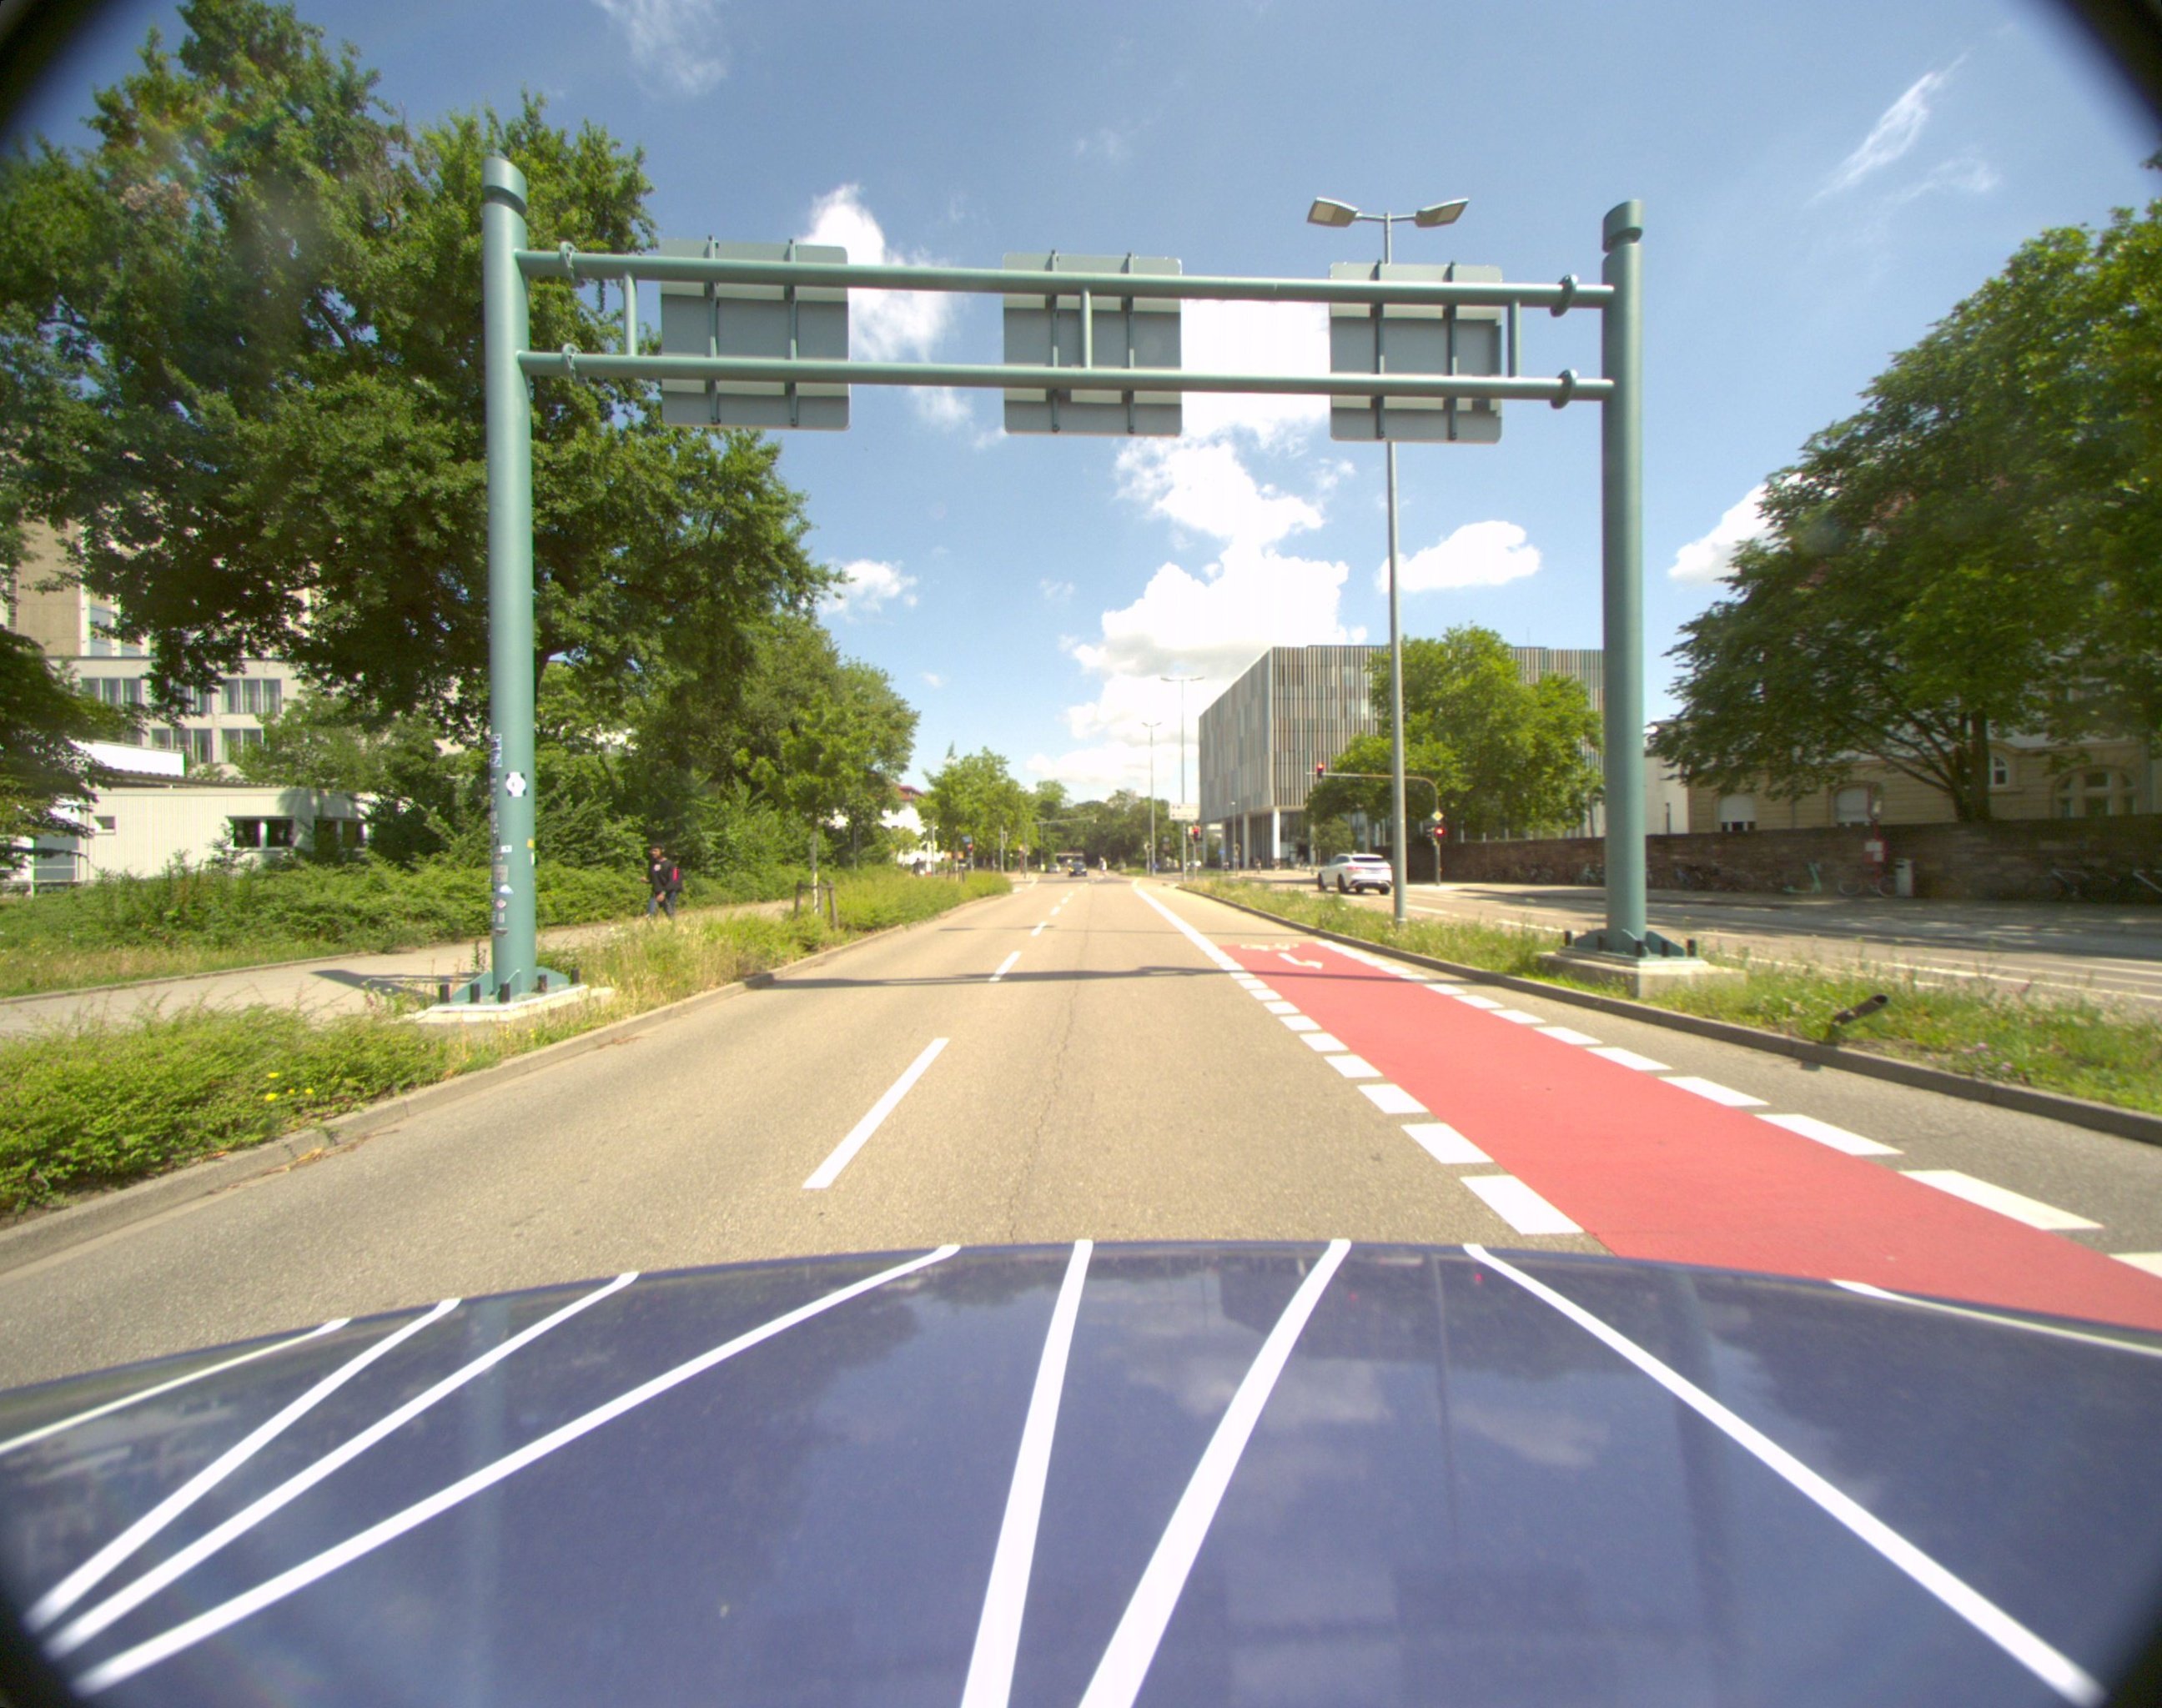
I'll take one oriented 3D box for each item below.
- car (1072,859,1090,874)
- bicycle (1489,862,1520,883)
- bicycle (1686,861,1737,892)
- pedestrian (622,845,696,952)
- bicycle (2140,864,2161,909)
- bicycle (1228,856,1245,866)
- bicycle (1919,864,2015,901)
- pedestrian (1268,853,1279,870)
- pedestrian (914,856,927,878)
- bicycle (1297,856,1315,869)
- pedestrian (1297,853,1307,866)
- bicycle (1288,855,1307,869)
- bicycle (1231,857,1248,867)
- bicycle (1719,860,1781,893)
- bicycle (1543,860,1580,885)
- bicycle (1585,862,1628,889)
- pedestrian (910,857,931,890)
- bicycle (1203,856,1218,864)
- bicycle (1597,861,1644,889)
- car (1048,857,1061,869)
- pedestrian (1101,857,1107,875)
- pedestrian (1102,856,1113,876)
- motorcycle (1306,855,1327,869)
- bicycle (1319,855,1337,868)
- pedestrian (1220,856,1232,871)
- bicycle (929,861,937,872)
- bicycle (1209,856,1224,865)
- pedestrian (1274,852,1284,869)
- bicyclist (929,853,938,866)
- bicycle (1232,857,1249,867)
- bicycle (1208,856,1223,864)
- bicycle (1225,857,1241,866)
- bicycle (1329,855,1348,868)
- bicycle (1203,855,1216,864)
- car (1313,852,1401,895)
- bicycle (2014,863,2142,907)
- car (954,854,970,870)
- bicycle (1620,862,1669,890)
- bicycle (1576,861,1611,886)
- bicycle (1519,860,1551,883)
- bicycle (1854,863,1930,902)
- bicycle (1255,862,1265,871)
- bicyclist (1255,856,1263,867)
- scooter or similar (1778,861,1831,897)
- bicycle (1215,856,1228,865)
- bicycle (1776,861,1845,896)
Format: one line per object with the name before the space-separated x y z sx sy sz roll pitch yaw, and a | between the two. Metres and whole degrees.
car | -0.065 1.416 84.534 1.846 1.593 3.999 -1 0 -2
bicycle | 22.539 0.976 40.453 0.573 1.092 1.593 -1 0 -8
bicycle | 23.944 0.849 28.872 0.403 1.145 1.593 -1 0 -11
pedestrian | -7.032 0.722 12.691 0.718 1.711 0.837 -1 1 2
bicycle | 25.895 0.763 17.380 0.545 1.041 1.894 -1 0 -11
bicycle | 24.437 1.144 119.348 2.511 1.486 0.621 -1 0 1
bicycle | 25.196 0.787 21.657 0.482 1.002 1.800 -1 0 -8
pedestrian | 21.686 0.832 85.678 0.969 1.914 0.880 -1 1 30
pedestrian | -13.714 1.140 64.985 0.878 1.861 0.971 -1 0 -5
bicycle | 27.360 1.047 92.416 2.693 1.485 0.930 -1 0 -44
pedestrian | 30.062 0.721 103.280 1.012 1.697 1.212 -1 0 25
bicycle | 26.594 0.967 93.150 0.808 1.634 3.422 -1 0 42
bicycle | 23.987 1.188 114.764 2.451 1.486 0.621 -1 0 1
bicycle | 23.960 0.800 27.237 0.534 1.145 1.591 -1 0 -21
bicycle | 23.022 0.865 36.407 0.623 1.145 1.593 -1 0 -8
bicycle | 23.098 0.916 33.433 0.403 1.145 1.591 -1 0 -22
pedestrian | -8.375 1.013 39.630 0.815 1.711 0.929 -1 0 2
bicycle | 23.006 1.028 135.256 2.511 1.486 0.621 -1 0 1
bicycle | 22.923 0.881 32.293 0.403 1.145 1.590 -1 0 -32
car | -4.083 1.379 115.982 1.913 1.772 3.999 -1 0 -3
pedestrian | 2.251 1.180 74.555 0.646 1.815 0.689 -1 0 1
pedestrian | 2.568 1.138 73.575 1.108 1.914 0.972 -1 0 2
motorcycle | 28.323 0.937 91.462 0.969 1.630 3.305 -1 0 45
bicycle | 29.440 0.903 90.495 1.049 1.543 3.422 -1 0 37
pedestrian | 16.396 1.055 85.904 0.972 1.619 0.878 -1 0 -11
bicycle | -16.947 1.417 87.202 0.885 1.244 2.163 -1 0 -11
bicycle | 23.219 1.065 130.448 2.511 1.486 0.621 -1 0 1
pedestrian | 23.008 0.780 88.388 0.969 1.914 0.880 -1 1 27
bicyclist | -16.955 0.608 87.109 0.972 1.436 1.076 -1 0 -11
bicycle | 24.275 1.175 115.769 2.509 1.486 0.730 -1 0 10
bicycle | 23.312 1.054 131.561 2.511 1.486 0.621 -1 0 1
bicycle | 23.692 1.160 118.452 2.511 1.486 0.621 -1 0 1
bicycle | 30.335 0.902 89.455 0.997 1.543 3.422 -1 0 37
bicycle | 23.214 1.008 137.243 2.302 1.486 0.657 -1 0 1
car | 11.465 0.786 31.957 2.076 1.657 4.776 -1 0 2
bicycle | 25.561 0.773 19.537 0.545 1.041 1.948 -1 0 -11
car | -15.824 1.002 100.825 2.000 2.042 4.226 -1 0 -8
bicycle | 23.099 0.889 31.177 0.403 1.145 1.590 -1 0 -32
bicycle | 23.365 0.875 34.694 0.413 1.145 1.593 -1 0 -5
bicycle | 22.782 0.880 38.166 0.500 1.145 1.593 -1 0 -8
bicycle | 24.901 0.853 23.361 0.433 1.136 1.593 -1 0 -12
bicycle | 19.110 1.338 81.212 0.646 0.992 2.167 -1 0 23
bicyclist | 19.065 0.815 81.298 0.617 1.219 0.835 -1 0 24
scooter or similar | 23.858 0.814 25.085 0.433 1.145 1.191 -1 0 -20
bicycle | 23.631 1.082 127.884 2.071 1.486 0.621 -1 0 1
bicycle | 24.436 0.809 25.496 0.534 1.145 1.591 -1 0 -21
